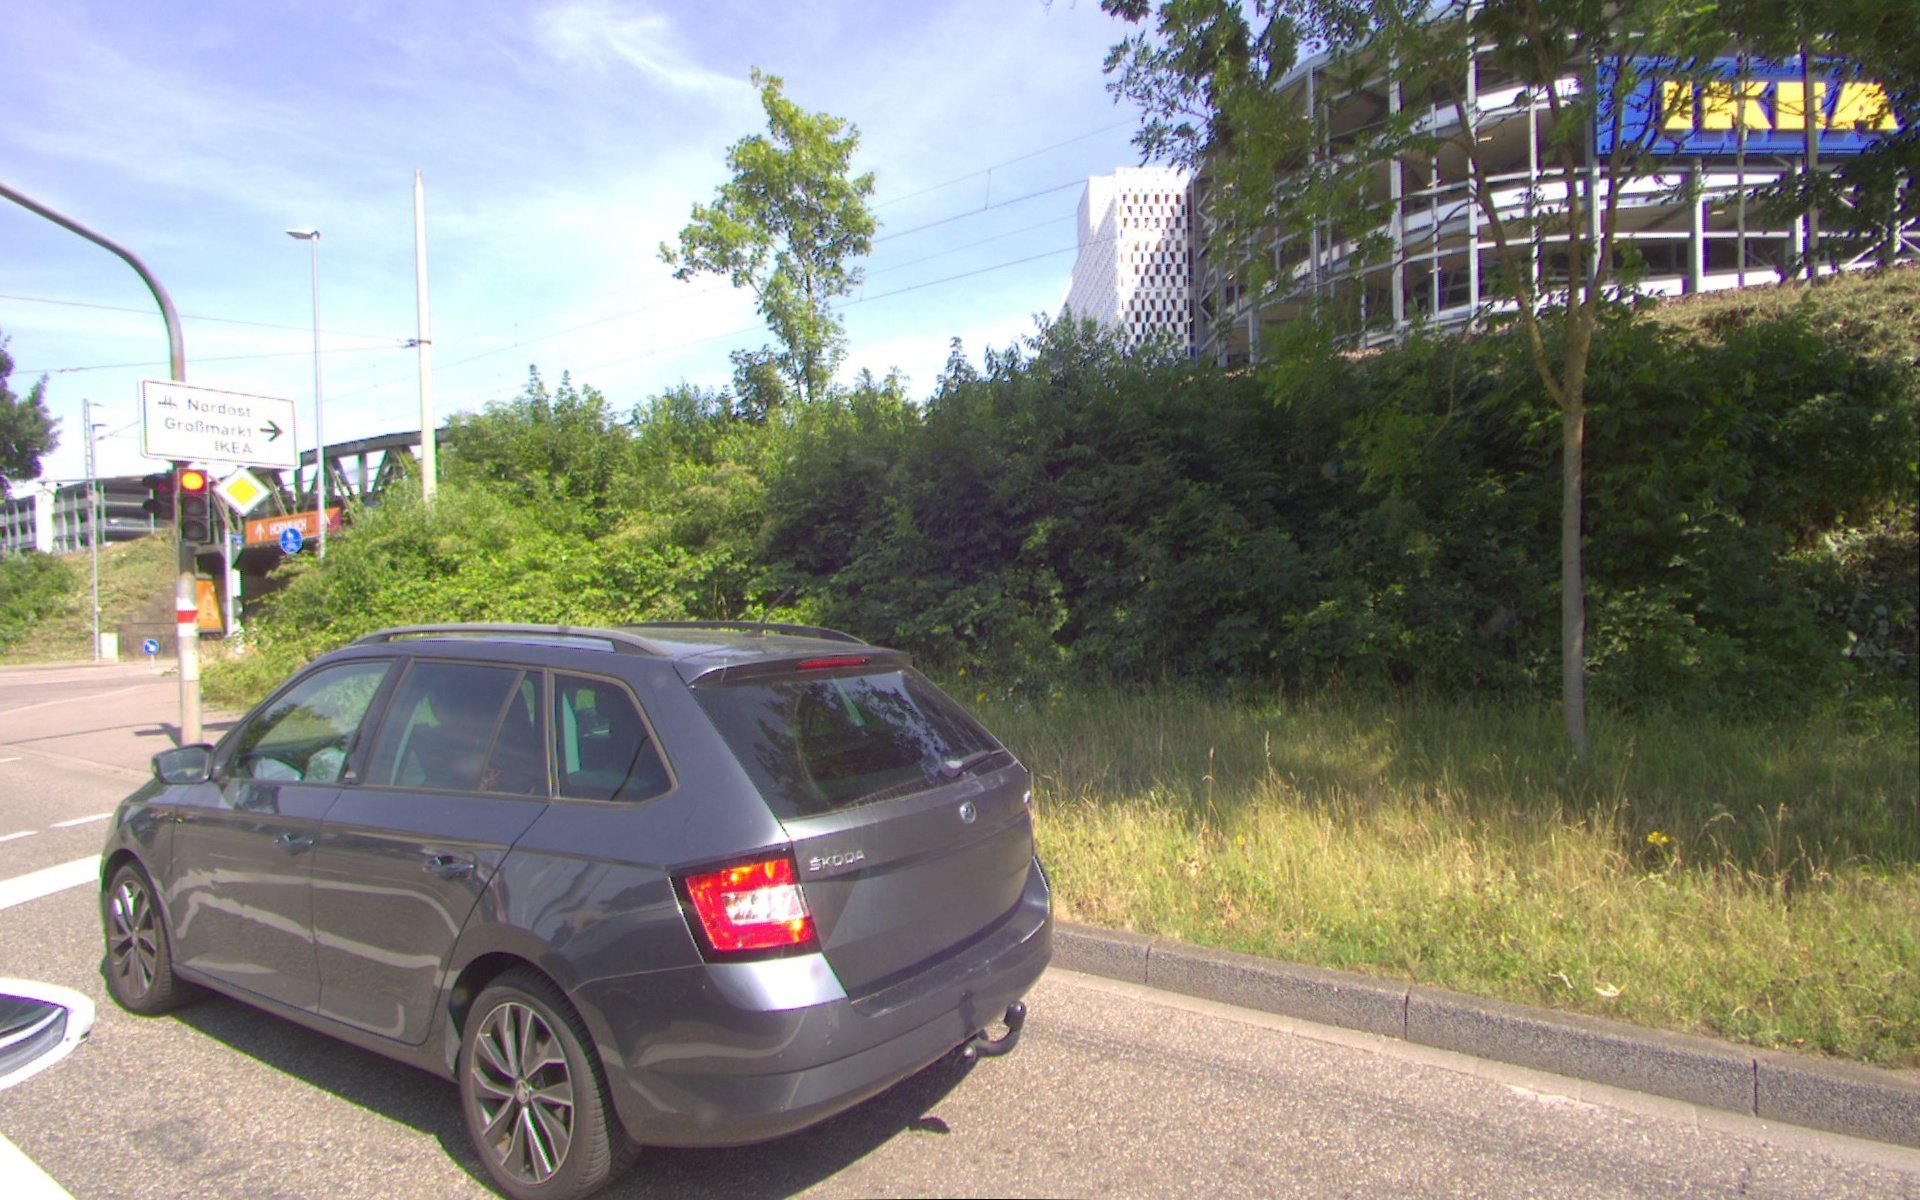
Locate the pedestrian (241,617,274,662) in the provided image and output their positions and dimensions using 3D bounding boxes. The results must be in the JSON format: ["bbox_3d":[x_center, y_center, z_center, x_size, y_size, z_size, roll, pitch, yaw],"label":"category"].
[{"bbox_3d":[-24.965,1.394,35.584,0.766,1.600,0.728,-1,0,32],"label":"pedestrian"}]

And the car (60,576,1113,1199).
[{"bbox_3d":[-1.596,0.745,3.746,3.979,1.472,1.671,-1,-2,33],"label":"car"}]

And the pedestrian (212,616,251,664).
[{"bbox_3d":[-25.382,1.390,34.875,0.766,1.633,0.866,-1,0,32],"label":"pedestrian"}]
